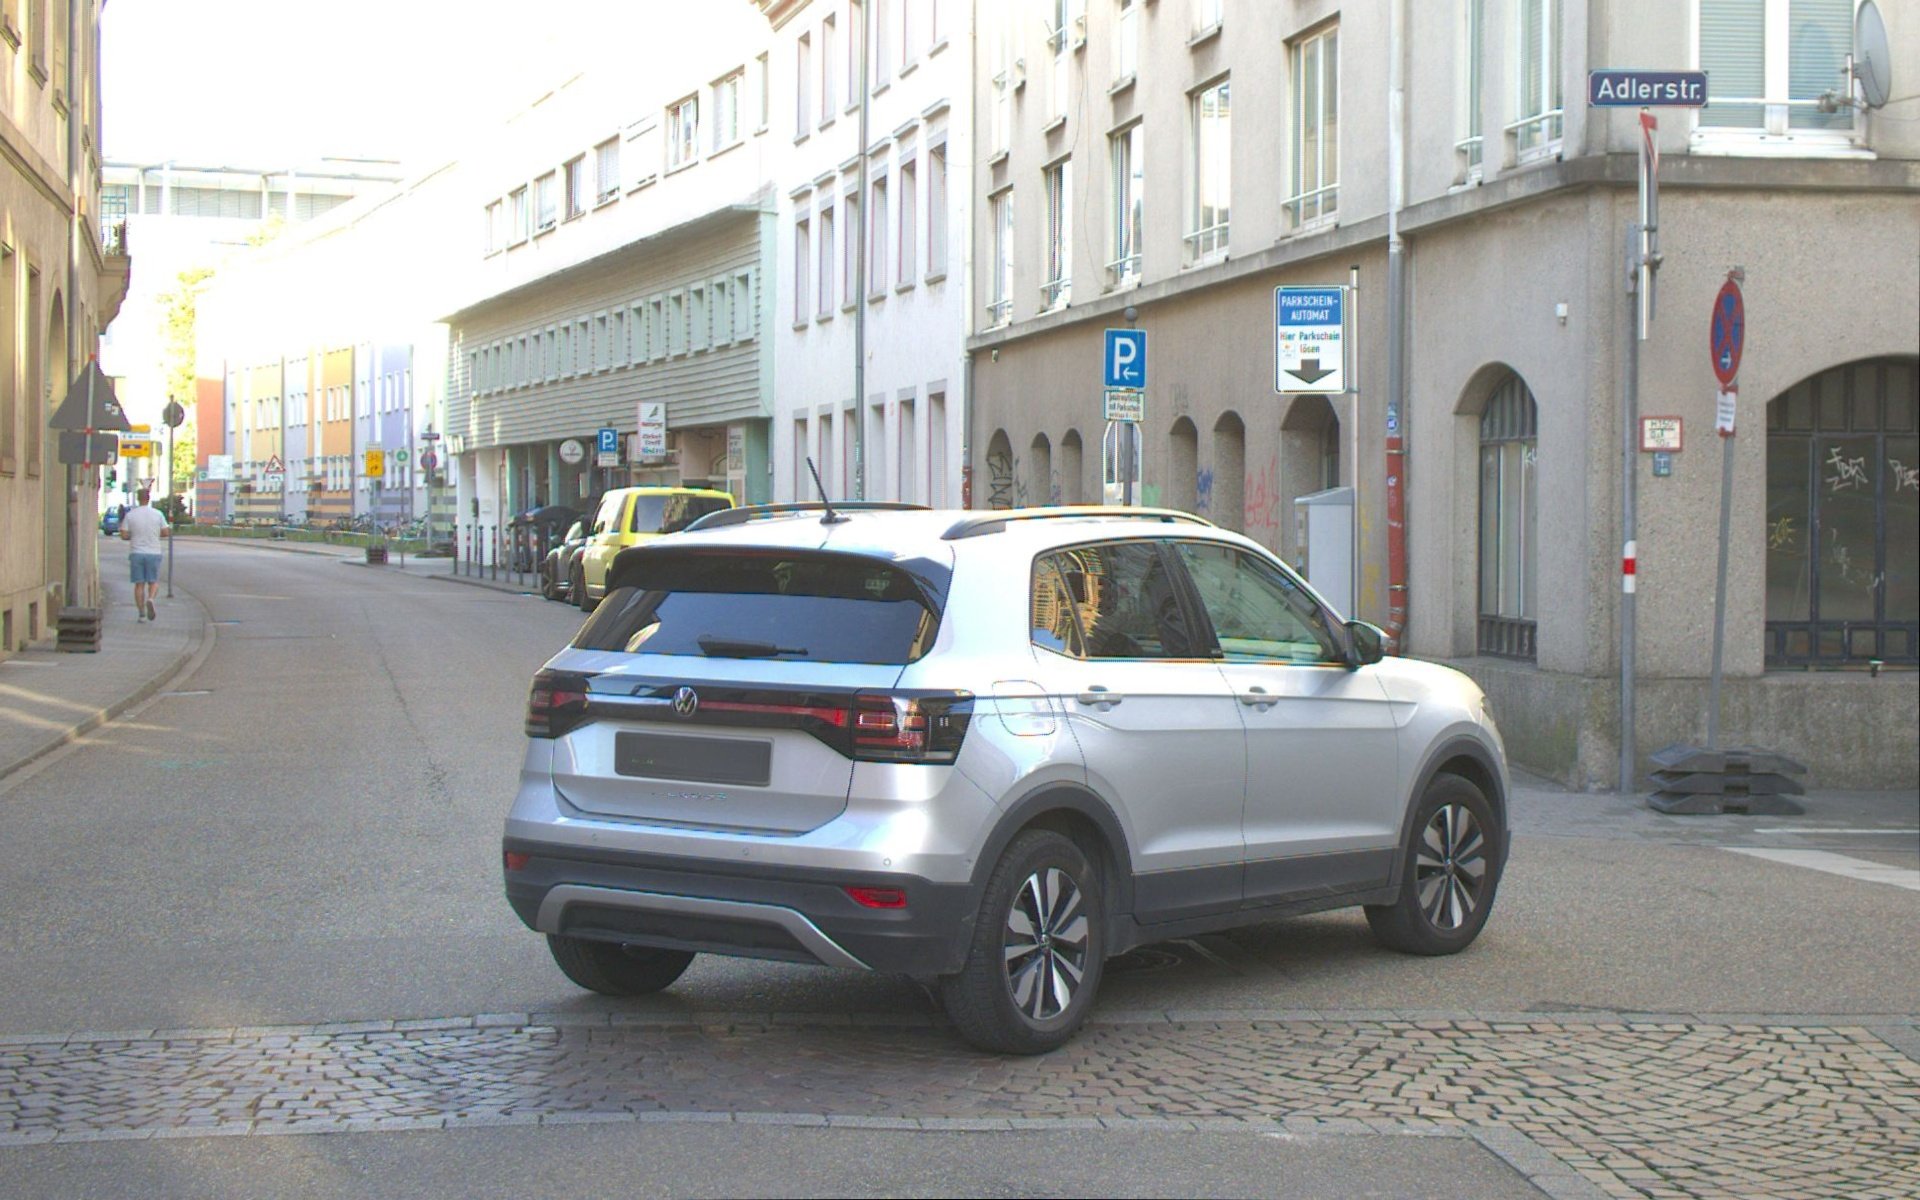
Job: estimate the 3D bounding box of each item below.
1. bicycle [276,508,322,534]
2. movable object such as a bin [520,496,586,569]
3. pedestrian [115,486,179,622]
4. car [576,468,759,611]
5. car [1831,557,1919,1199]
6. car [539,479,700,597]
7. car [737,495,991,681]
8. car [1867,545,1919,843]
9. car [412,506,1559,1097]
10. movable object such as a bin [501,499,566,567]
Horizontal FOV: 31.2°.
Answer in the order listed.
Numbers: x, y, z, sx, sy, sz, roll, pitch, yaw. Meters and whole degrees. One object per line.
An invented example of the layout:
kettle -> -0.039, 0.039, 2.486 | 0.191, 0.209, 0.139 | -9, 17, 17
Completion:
bicycle -> -26.674, -3.190, 138.728 | 1.780, 0.997, 0.547 | 0, 1, -15
movable object such as a bin -> -8.855, -1.471, 74.709 | 1.131, 1.552, 1.740 | 0, 2, -17
pedestrian -> -10.383, -0.597, 43.886 | 0.765, 1.718, 0.687 | 0, 2, -15
car -> -4.358, -0.922, 50.582 | 2.052, 2.006, 4.176 | 0, 2, -14
car -> 2.768, 0.749, 4.390 | 1.888, 1.513, 4.064 | 1, 2, -6
car -> -5.618, -1.045, 56.339 | 2.052, 1.866, 4.102 | 0, 2, -14
car -> -1.025, -0.167, 34.202 | 1.967, 1.686, 4.102 | 1, 2, -9
car -> 7.145, 0.532, 18.001 | 4.215, 1.547, 1.902 | 1, 2, -3
car -> 0.271, 0.483, 11.364 | 1.840, 1.556, 3.992 | 1, 2, 35
movable object such as a bin -> -9.491, -1.500, 76.397 | 1.131, 1.474, 1.740 | 0, 2, -17
